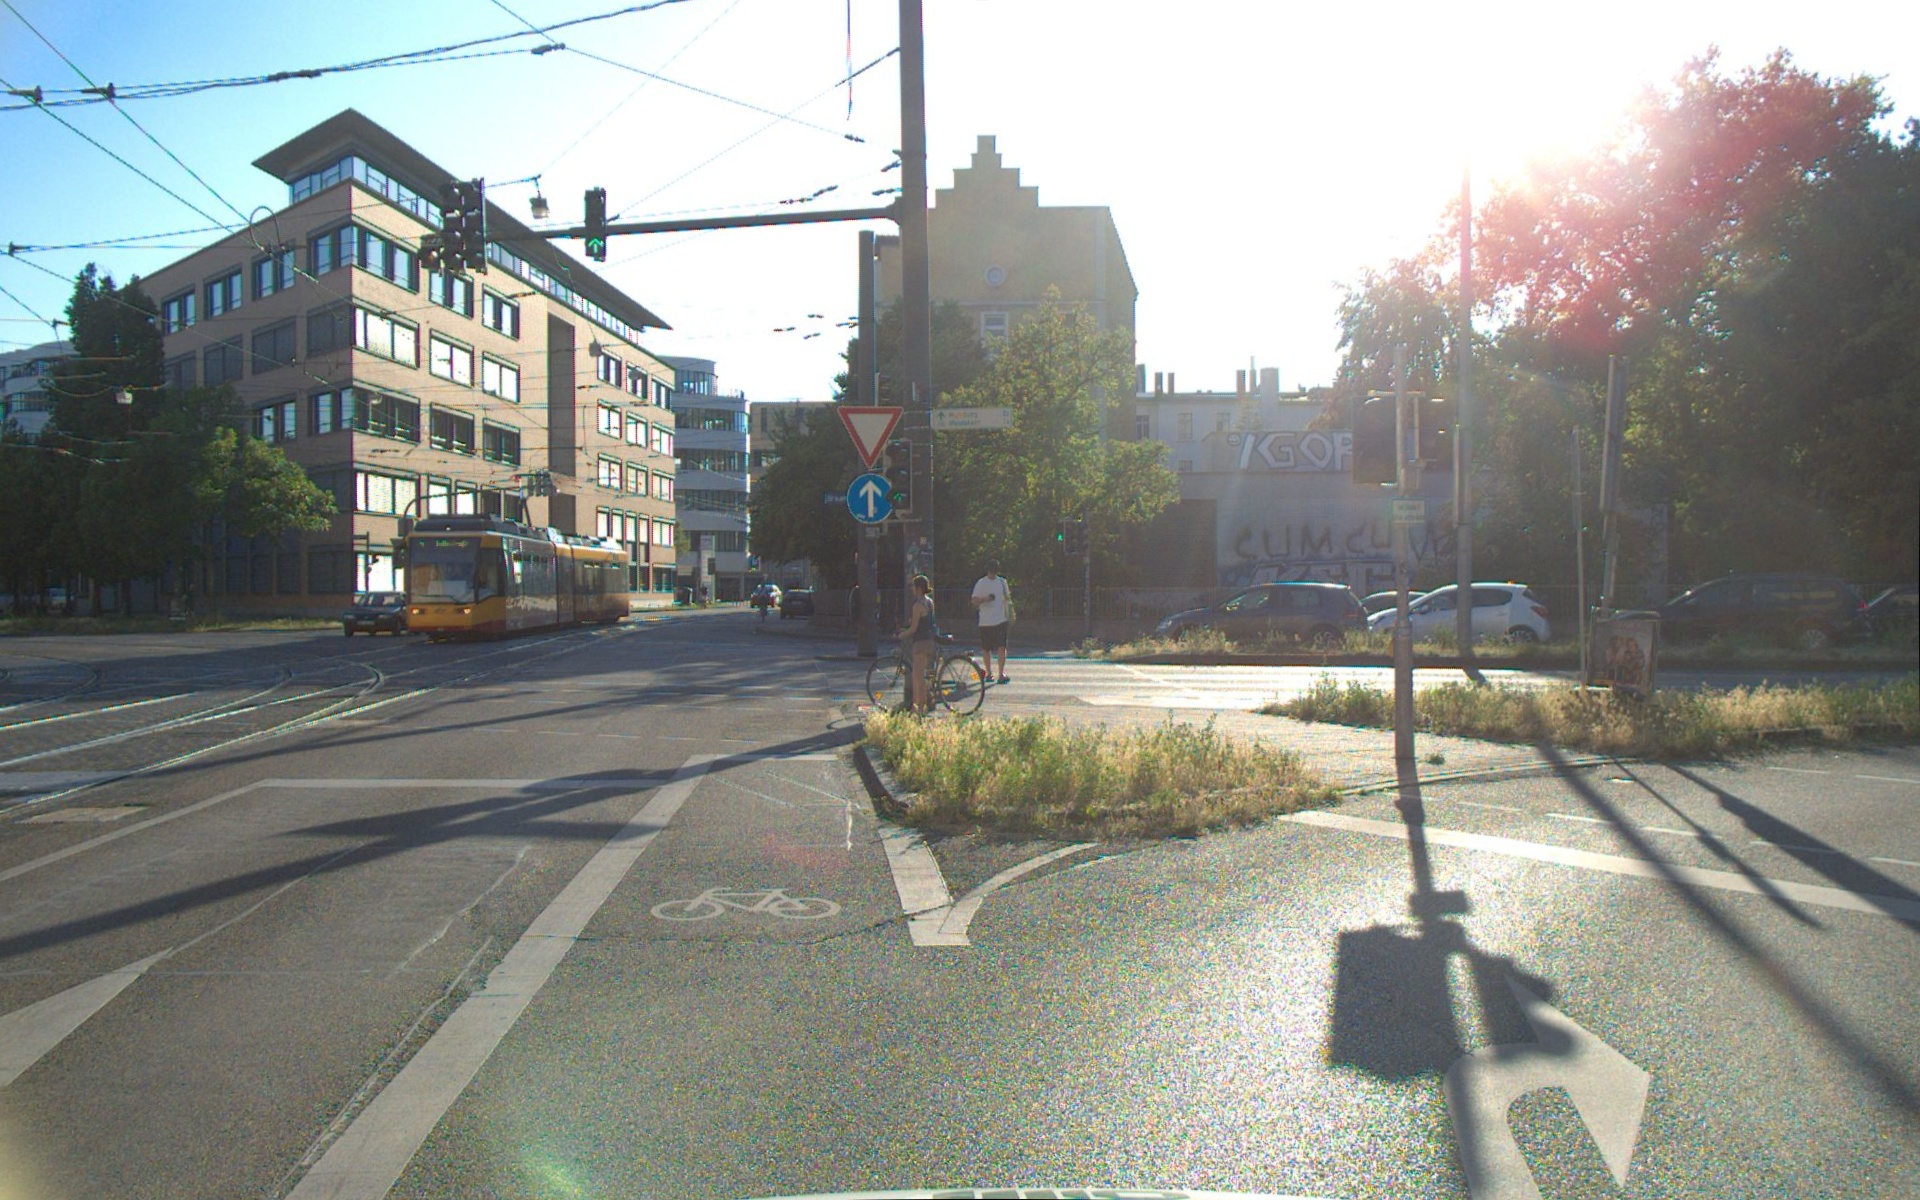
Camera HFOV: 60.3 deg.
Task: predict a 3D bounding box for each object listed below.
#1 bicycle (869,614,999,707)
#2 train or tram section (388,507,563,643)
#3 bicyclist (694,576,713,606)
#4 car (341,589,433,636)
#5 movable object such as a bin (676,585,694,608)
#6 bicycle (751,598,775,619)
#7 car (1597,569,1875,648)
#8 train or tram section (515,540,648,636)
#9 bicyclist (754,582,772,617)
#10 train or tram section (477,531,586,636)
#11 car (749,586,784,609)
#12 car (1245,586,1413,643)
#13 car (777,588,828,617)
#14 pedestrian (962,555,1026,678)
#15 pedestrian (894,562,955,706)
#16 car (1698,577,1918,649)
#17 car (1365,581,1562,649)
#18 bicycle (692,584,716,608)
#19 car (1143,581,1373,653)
[{"bbox_3d":[-0.324,0.696,19.554,1.639,1.047,0.398,0,0,38],"label":"bicycle"},{"bbox_3d":[-14.329,-0.706,50.118,2.805,3.569,12.997,-1,0,-6],"label":"train or tram section"},{"bbox_3d":[-18.012,-0.621,116.297,1.008,2.049,1.248,1,-1,6],"label":"bicyclist"},{"bbox_3d":[-17.929,0.367,51.911,1.774,1.404,4.158,-1,0,-5],"label":"car"},{"bbox_3d":[-19.614,-0.252,117.962,1.044,1.657,0.889,-1,0,2],"label":"movable object such as a bin"},{"bbox_3d":[-8.754,0.382,73.487,0.680,0.892,2.028,-1,0,4],"label":"bicycle"},{"bbox_3d":[13.605,0.149,29.273,4.271,1.319,1.725,0,0,19],"label":"car"},{"bbox_3d":[-15.258,-0.471,67.677,2.802,3.569,11.297,-1,0,0],"label":"train or tram section"},{"bbox_3d":[-8.757,-0.018,73.557,0.659,1.548,0.814,-1,0,4],"label":"bicyclist"},{"bbox_3d":[-15.262,-0.595,59.265,2.804,3.569,5.299,-1,0,-4],"label":"train or tram section"},{"bbox_3d":[-14.552,-0.189,124.749,1.777,1.643,4.468,-1,0,4],"label":"car"},{"bbox_3d":[8.824,0.347,39.456,3.799,1.319,1.725,0,0,16],"label":"car"},{"bbox_3d":[-7.866,0.107,82.947,1.747,1.412,4.003,-1,0,6],"label":"car"},{"bbox_3d":[0.522,0.244,25.058,0.889,1.820,0.828,-1,0,5],"label":"pedestrian"},{"bbox_3d":[-0.417,0.390,19.403,0.515,1.660,0.487,-1,0,37],"label":"pedestrian"},{"bbox_3d":[18.354,0.265,35.977,3.901,1.489,1.861,-1,1,12],"label":"car"},{"bbox_3d":[10.394,0.306,34.290,3.799,1.342,1.725,0,0,16],"label":"car"},{"bbox_3d":[-18.019,-0.292,116.312,1.008,1.680,2.562,-1,0,6],"label":"bicycle"},{"bbox_3d":[5.783,0.319,32.065,4.147,1.319,1.725,0,0,20],"label":"car"}]
